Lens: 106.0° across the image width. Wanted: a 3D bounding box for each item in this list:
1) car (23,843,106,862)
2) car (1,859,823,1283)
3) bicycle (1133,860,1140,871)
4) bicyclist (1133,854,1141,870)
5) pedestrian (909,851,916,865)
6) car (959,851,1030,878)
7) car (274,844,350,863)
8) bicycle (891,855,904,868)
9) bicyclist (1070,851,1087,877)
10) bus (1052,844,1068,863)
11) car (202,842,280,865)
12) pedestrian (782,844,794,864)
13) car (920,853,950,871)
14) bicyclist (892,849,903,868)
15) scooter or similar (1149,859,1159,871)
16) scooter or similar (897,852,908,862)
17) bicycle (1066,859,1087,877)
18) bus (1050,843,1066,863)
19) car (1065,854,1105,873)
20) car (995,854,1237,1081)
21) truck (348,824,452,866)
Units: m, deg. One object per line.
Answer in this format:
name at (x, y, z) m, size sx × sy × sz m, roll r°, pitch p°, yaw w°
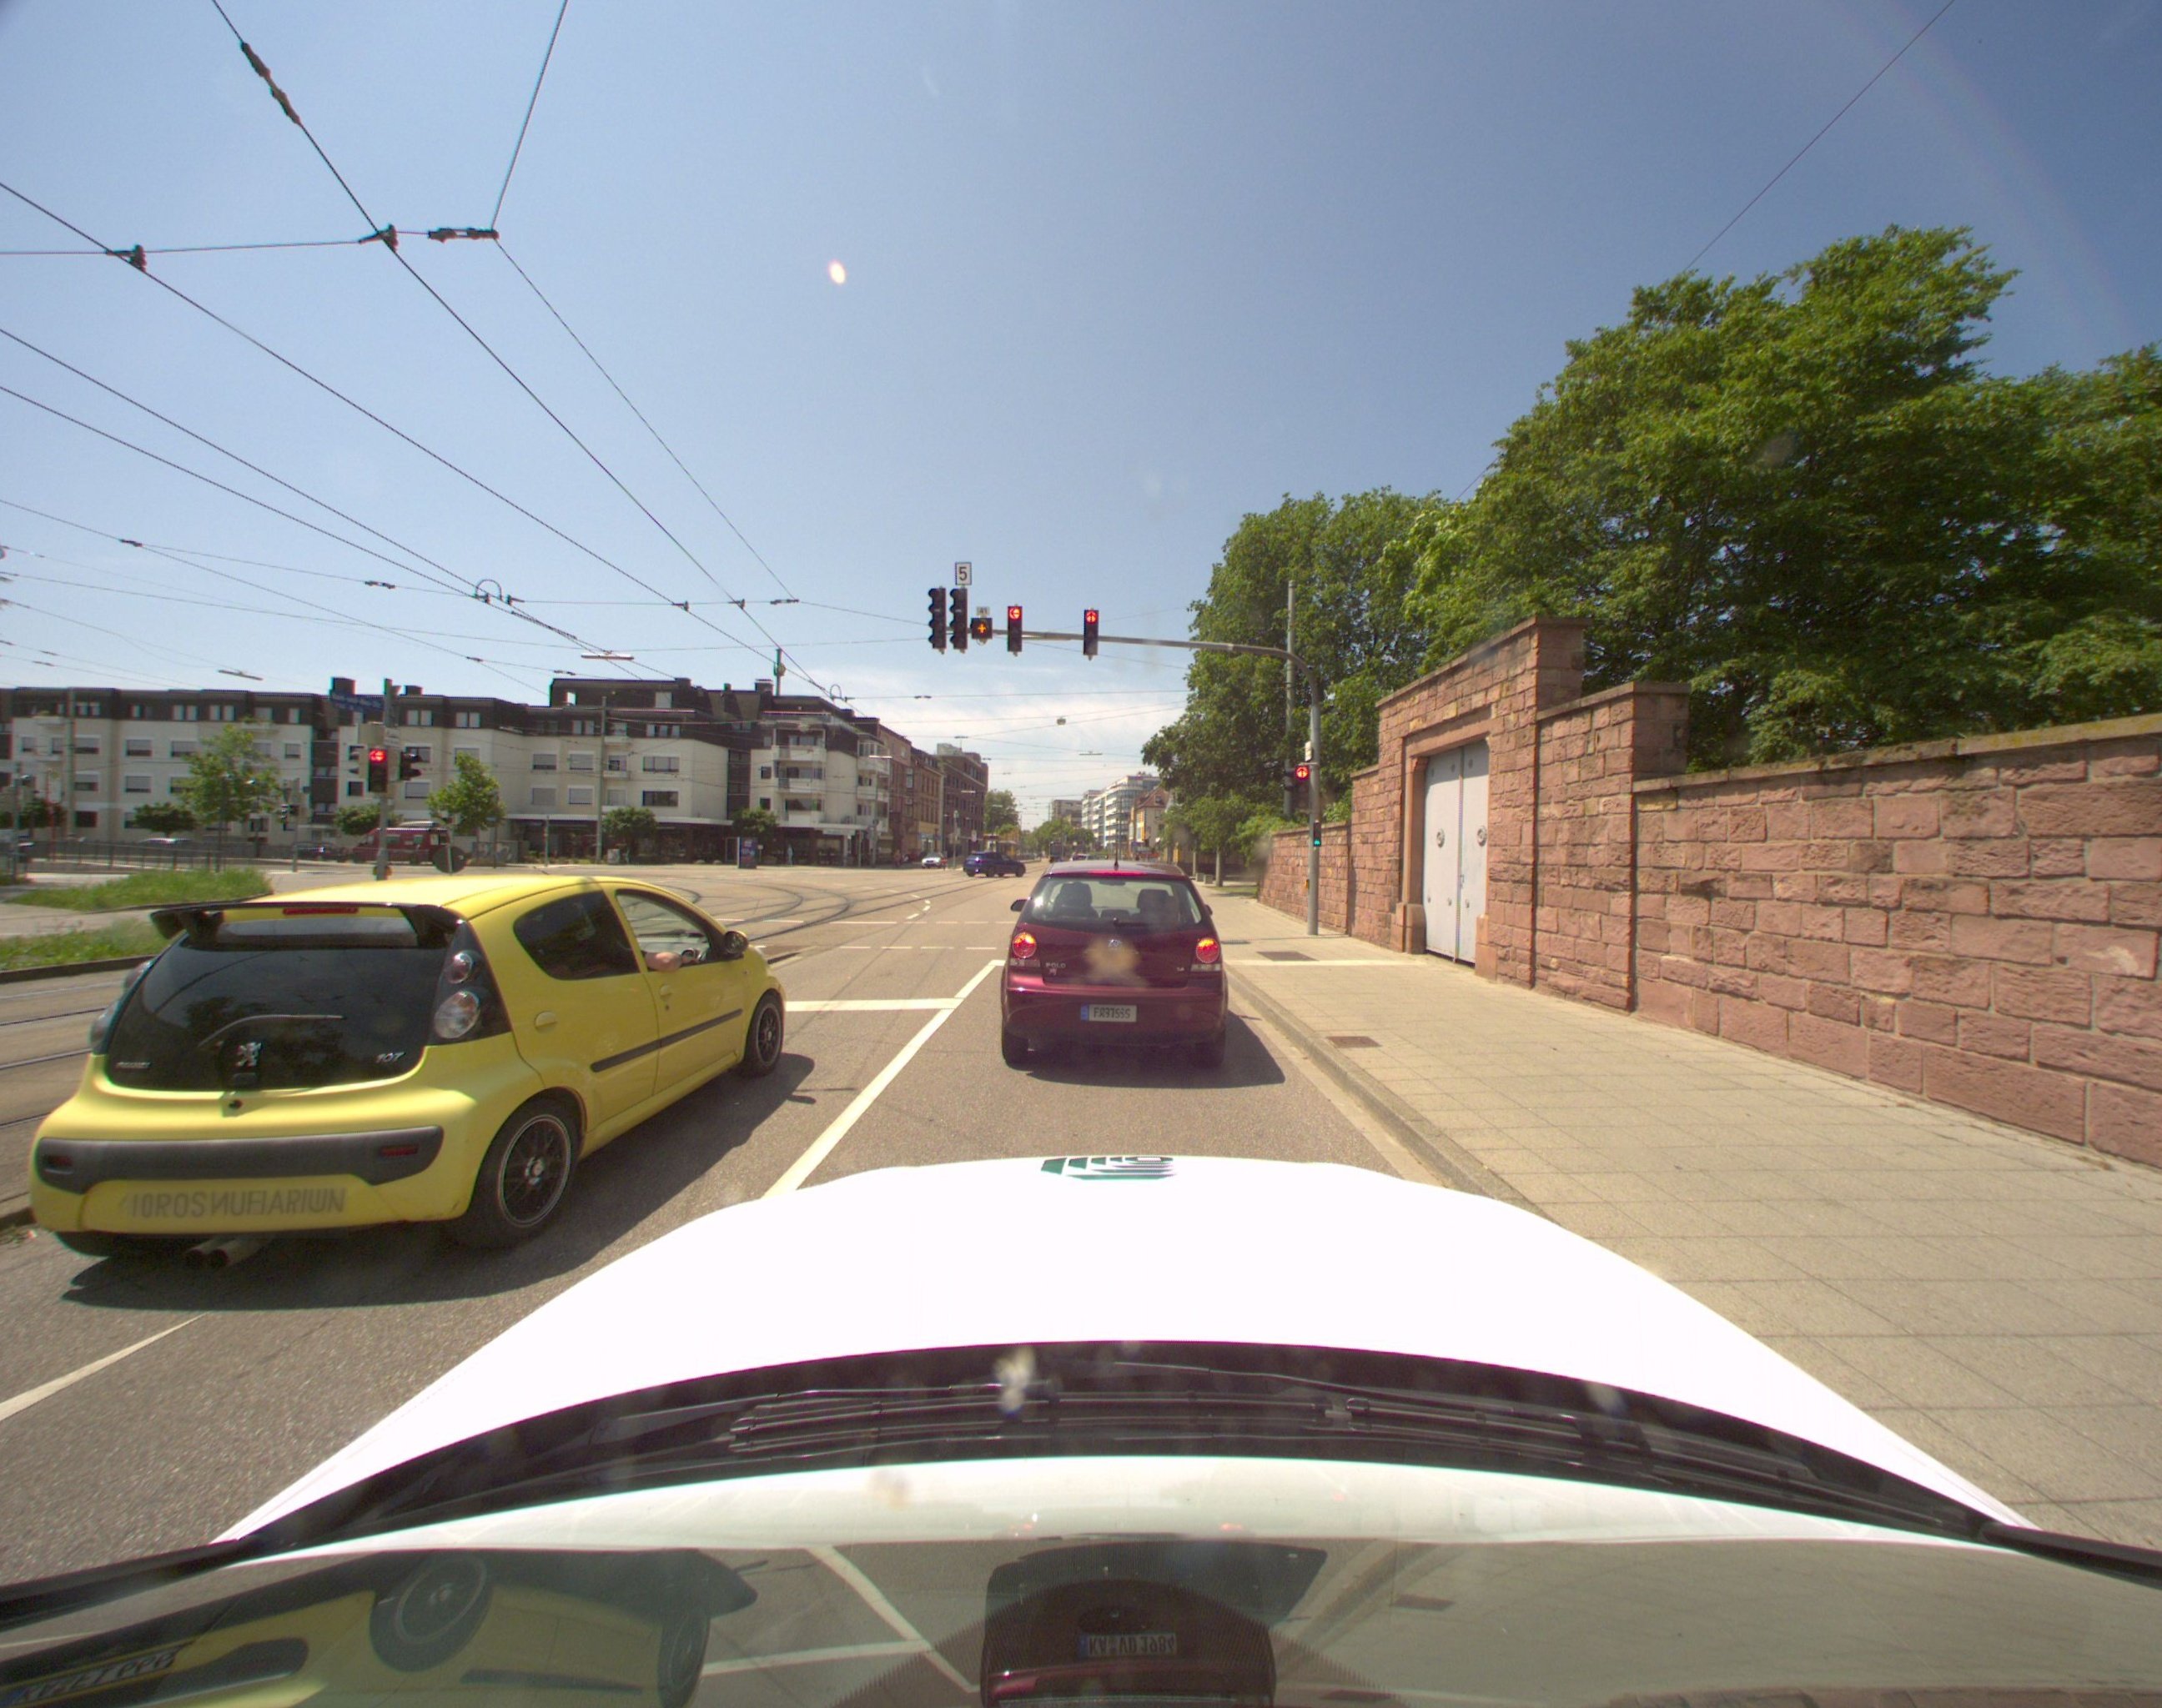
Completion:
car at (-67.860, -0.108, 54.413) m, size 3.556 × 1.240 × 1.591 m, roll 1°, pitch 0°, yaw 2°
car at (-2.897, 0.762, 4.645) m, size 1.610 × 1.421 × 3.656 m, roll -1°, pitch -1°, yaw 1°
bicycle at (5.851, 1.185, 85.494) m, size 0.665 × 1.002 × 1.865 m, roll -3°, pitch 1°, yaw 3°
bicyclist at (5.877, 0.866, 85.536) m, size 0.829 × 1.618 × 0.861 m, roll -3°, pitch 1°, yaw 3°
pedestrian at (-18.332, 0.405, 88.697) m, size 0.612 × 1.560 × 0.640 m, roll 1°, pitch 0°, yaw 1°
car at (-5.598, 0.663, 53.081) m, size 1.974 × 1.624 × 4.661 m, roll 1°, pitch 0°, yaw 37°
car at (-51.377, -0.057, 54.460) m, size 3.556 × 1.219 × 1.591 m, roll 1°, pitch 0°, yaw 2°
bicycle at (-17.037, 0.712, 75.540) m, size 0.692 × 1.149 × 1.932 m, roll 1°, pitch 1°, yaw 1°
bicyclist at (-0.193, 0.659, 55.924) m, size 0.720 × 1.760 × 0.930 m, roll 1°, pitch 0°, yaw 35°
bus at (-3.430, -0.066, 133.109) m, size 2.225 × 3.003 × 6.595 m, roll 1°, pitch 0°, yaw 1°
car at (-55.939, -0.018, 54.276) m, size 3.556 × 1.433 × 1.591 m, roll 1°, pitch 0°, yaw 2°
pedestrian at (-24.978, -0.026, 69.451) m, size 0.804 × 1.696 × 0.700 m, roll 1°, pitch 0°, yaw -8°
car at (-13.765, 0.745, 77.009) m, size 1.986 × 1.553 × 4.141 m, roll 1°, pitch 0°, yaw 2°
bicyclist at (-17.039, 0.417, 75.585) m, size 0.692 × 1.765 × 1.137 m, roll 1°, pitch 1°, yaw 1°
scooter or similar at (7.534, 1.142, 83.992) m, size 0.340 × 1.178 × 1.457 m, roll 1°, pitch 0°, yaw -22°
scooter or similar at (-20.222, 0.304, 92.493) m, size 0.484 × 1.082 × 1.584 m, roll 1°, pitch 0°, yaw 18°
bicycle at (-0.322, 0.943, 55.703) m, size 0.372 × 1.197 × 1.917 m, roll 1°, pitch 0°, yaw 35°
bus at (-3.555, -0.115, 126.572) m, size 2.137 × 3.003 × 6.574 m, roll 1°, pitch 0°, yaw 1°
car at (0.346, 0.771, 66.423) m, size 1.807 × 1.530 × 4.022 m, roll 1°, pitch 0°, yaw 24°
car at (0.251, 0.741, 6.839) m, size 1.556 × 1.453 × 3.062 m, roll 1°, pitch 0°, yaw 1°
truck at (-45.328, -0.609, 54.283) m, size 5.007 × 2.698 × 2.188 m, roll 1°, pitch 0°, yaw 1°
